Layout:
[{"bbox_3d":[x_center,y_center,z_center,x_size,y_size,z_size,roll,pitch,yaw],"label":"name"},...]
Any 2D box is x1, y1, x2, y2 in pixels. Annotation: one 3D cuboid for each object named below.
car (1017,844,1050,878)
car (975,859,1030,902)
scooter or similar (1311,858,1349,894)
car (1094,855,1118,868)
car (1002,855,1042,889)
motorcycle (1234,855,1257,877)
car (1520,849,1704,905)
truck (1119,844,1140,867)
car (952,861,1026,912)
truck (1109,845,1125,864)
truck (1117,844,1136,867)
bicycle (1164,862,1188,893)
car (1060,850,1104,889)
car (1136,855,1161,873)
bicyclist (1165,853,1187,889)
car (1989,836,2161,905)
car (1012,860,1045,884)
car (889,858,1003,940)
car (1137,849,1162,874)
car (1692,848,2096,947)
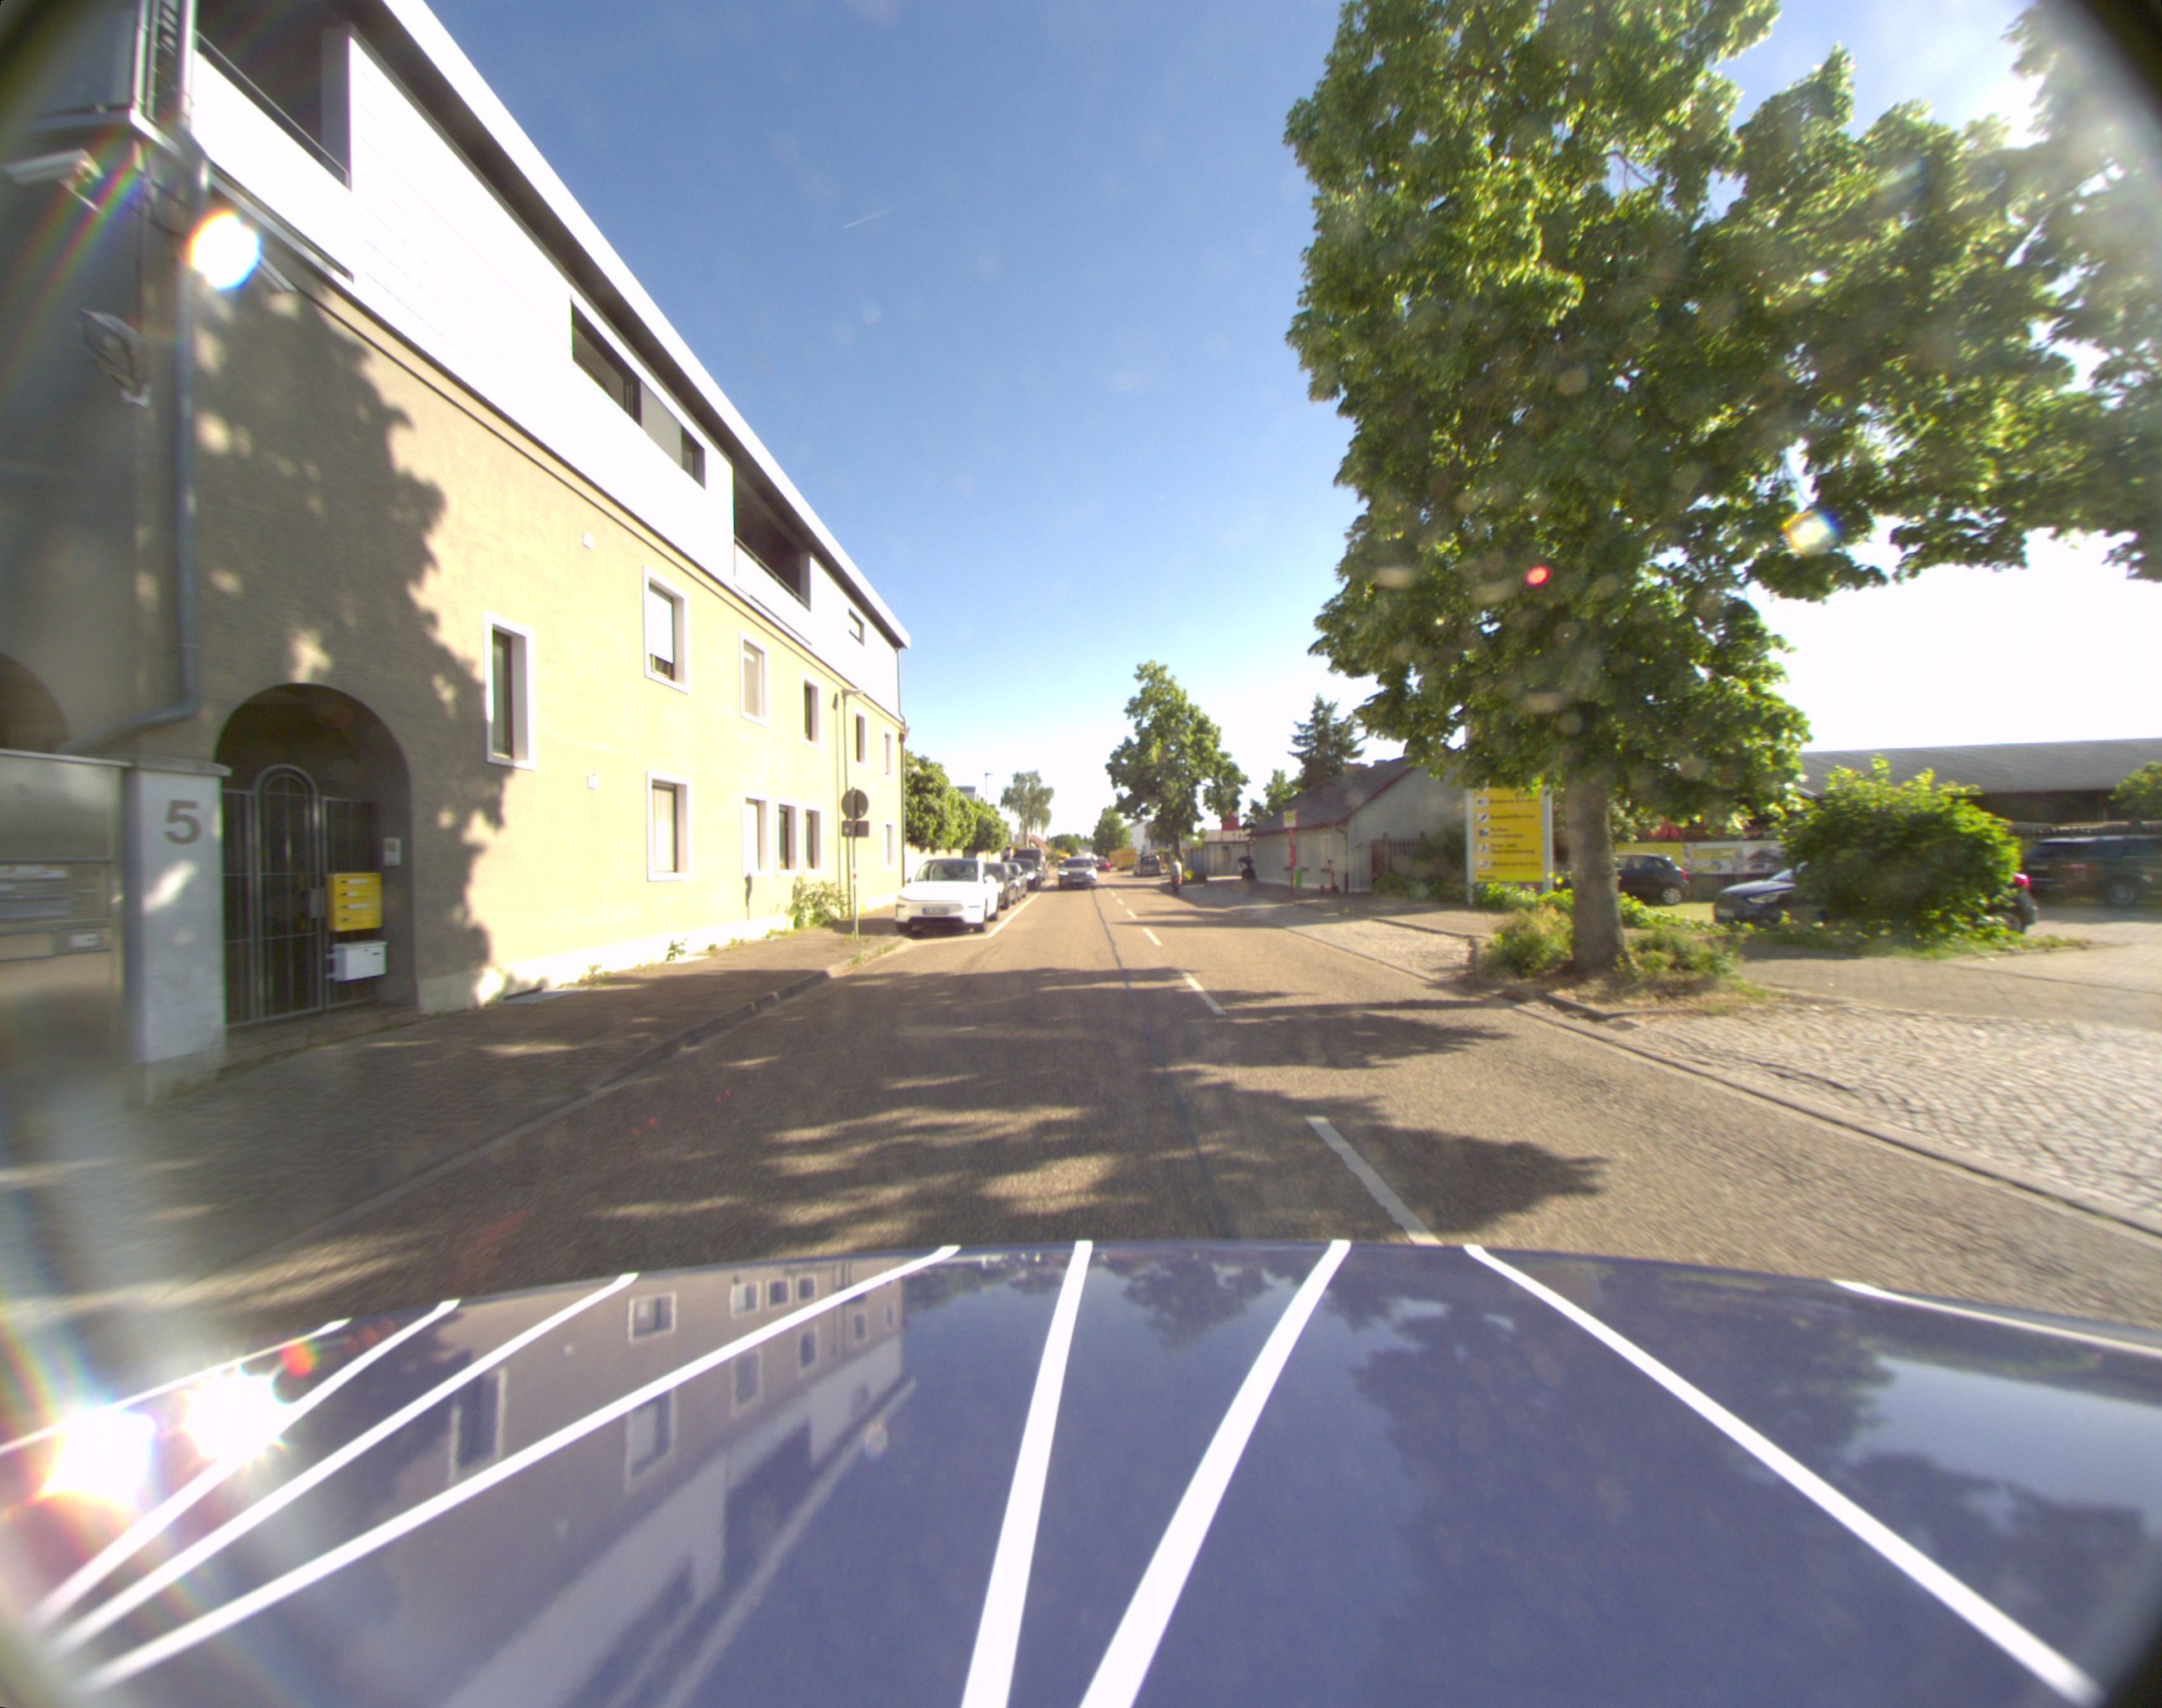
[{"bbox_3d":[-3.212,0.454,52.320,1.896,2.247,5.145,-1,0,0],"label":"car"},{"bbox_3d":[-2.951,0.960,29.220,1.663,1.496,4.031,-1,0,0],"label":"car"},{"bbox_3d":[9.037,0.779,27.616,0.484,1.263,1.576,-2,0,-17],"label":"scooter or similar"},{"bbox_3d":[2.795,0.812,83.386,1.873,1.412,4.535,1,0,12],"label":"car"},{"bbox_3d":[-3.026,0.919,39.823,1.686,1.604,4.205,-3,0,0],"label":"car"},{"bbox_3d":[9.664,0.693,44.654,0.701,1.226,2.539,-3,0,0],"label":"motorcycle"},{"bbox_3d":[15.472,0.654,22.322,4.067,1.506,1.775,-1,0,6],"label":"car"},{"bbox_3d":[5.960,0.110,94.499,2.173,2.698,5.749,-3,1,0],"label":"truck"},{"bbox_3d":[-2.893,0.997,24.646,1.602,1.464,4.190,-1,0,4],"label":"car"},{"bbox_3d":[6.306,0.087,132.633,2.286,3.012,5.910,-6,1,0],"label":"truck"},{"bbox_3d":[6.005,0.153,101.340,2.145,2.857,5.749,-3,0,0],"label":"truck"},{"bbox_3d":[4.232,1.025,33.895,0.841,1.232,2.604,2,1,3],"label":"bicycle"},{"bbox_3d":[0.025,0.736,38.386,1.999,1.750,5.015,-2,0,-1],"label":"car"},{"bbox_3d":[5.974,0.864,67.771,1.780,1.439,4.615,-3,0,0],"label":"car"},{"bbox_3d":[4.251,0.742,34.029,0.841,1.533,1.136,2,1,3],"label":"bicyclist"},{"bbox_3d":[26.604,0.384,19.237,4.325,1.645,2.002,-1,0,12],"label":"car"},{"bbox_3d":[-3.067,1.034,44.901,1.658,1.310,4.104,-1,0,0],"label":"car"},{"bbox_3d":[-3.004,0.933,17.905,1.937,1.635,4.769,-1,0,-2],"label":"car"},{"bbox_3d":[5.626,0.602,62.898,1.779,1.838,4.616,-3,0,3],"label":"car"},{"bbox_3d":[13.563,0.699,13.042,4.351,1.499,2.002,-1,0,14],"label":"car"}]
